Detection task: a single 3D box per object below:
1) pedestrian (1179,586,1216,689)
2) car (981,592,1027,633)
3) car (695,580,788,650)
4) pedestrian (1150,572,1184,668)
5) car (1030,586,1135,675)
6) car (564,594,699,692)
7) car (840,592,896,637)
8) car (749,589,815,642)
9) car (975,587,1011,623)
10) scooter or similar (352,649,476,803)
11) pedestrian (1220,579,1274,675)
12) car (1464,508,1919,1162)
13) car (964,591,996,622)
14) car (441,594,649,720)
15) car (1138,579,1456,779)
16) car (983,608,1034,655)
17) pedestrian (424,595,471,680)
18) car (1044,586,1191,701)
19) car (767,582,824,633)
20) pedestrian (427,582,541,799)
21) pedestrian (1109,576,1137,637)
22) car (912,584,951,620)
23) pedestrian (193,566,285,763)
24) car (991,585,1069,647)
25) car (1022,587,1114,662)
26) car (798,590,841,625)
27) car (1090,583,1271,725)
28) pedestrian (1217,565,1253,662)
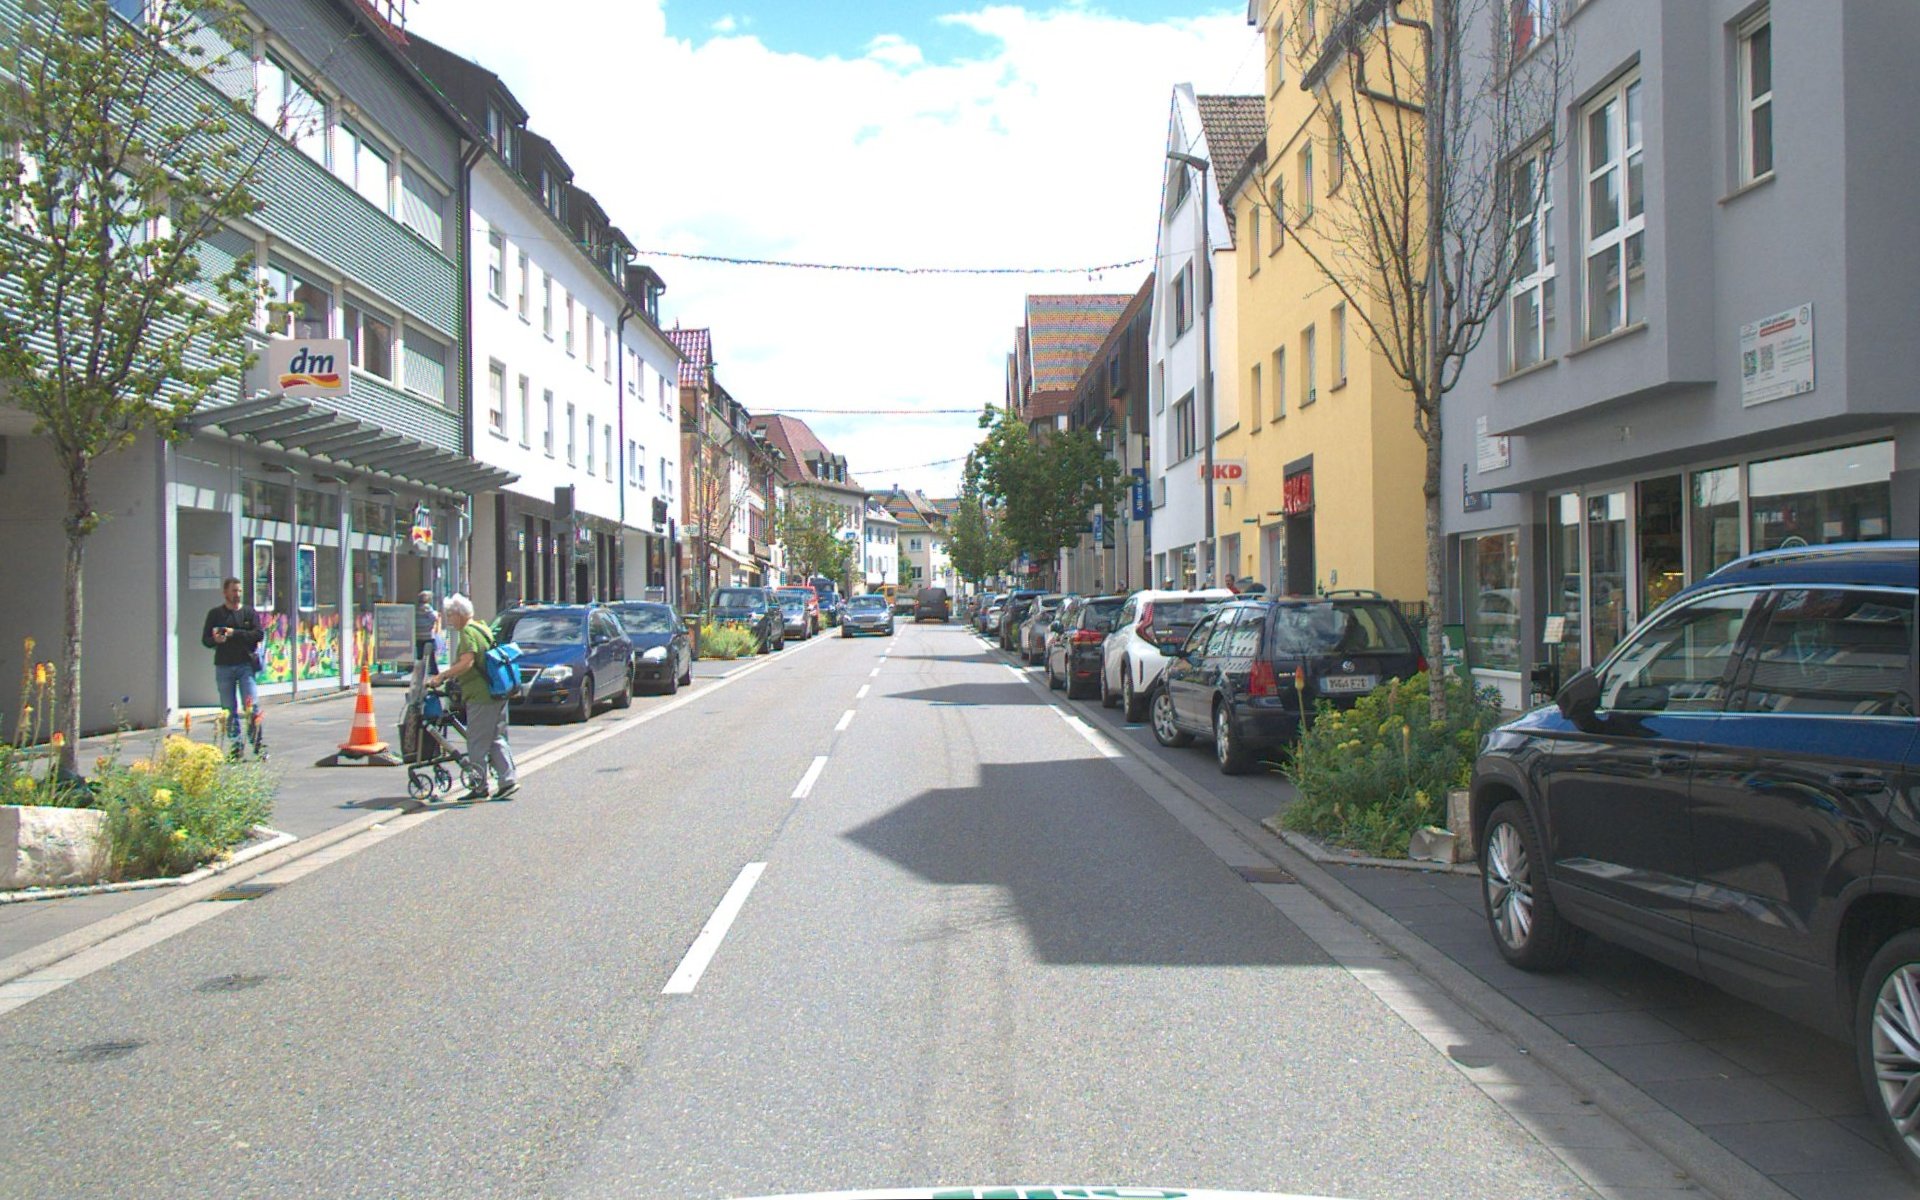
[{"bbox_3d":[4.384,0.684,30.527,0.576,1.873,0.576,1,-1,-1],"label":"pedestrian"},{"bbox_3d":[1.700,0.489,65.111,1.686,1.520,4.108,1,-1,0],"label":"car"},{"bbox_3d":[-5.901,0.415,45.171,1.778,1.786,4.669,1,-1,1],"label":"car"},{"bbox_3d":[4.064,0.392,32.527,0.576,1.873,0.576,1,-1,-1],"label":"pedestrian"},{"bbox_3d":[2.217,0.555,31.026,1.597,1.502,4.957,1,-1,0],"label":"car"},{"bbox_3d":[-5.536,0.678,28.290,1.755,1.529,4.174,1,0,-5],"label":"car"},{"bbox_3d":[-3.404,0.558,61.669,1.866,1.591,4.644,1,-1,-1],"label":"car"},{"bbox_3d":[-6.223,0.555,58.242,1.779,1.786,4.463,1,-1,0],"label":"car"},{"bbox_3d":[1.493,0.217,76.091,1.576,1.559,3.795,-1,0,0],"label":"car"},{"bbox_3d":[-4.223,0.963,12.828,0.766,1.145,0.629,1,-1,-6],"label":"scooter or similar"},{"bbox_3d":[4.842,0.452,27.930,0.734,1.580,0.725,-1,-1,-2],"label":"pedestrian"},{"bbox_3d":[3.204,0.549,5.188,1.763,1.631,4.202,-2,0,-3],"label":"car"},{"bbox_3d":[1.043,0.346,88.139,1.577,1.521,3.795,-4,0,0],"label":"car"},{"bbox_3d":[-5.526,0.702,22.613,1.754,1.539,4.711,0,0,-1],"label":"car"},{"bbox_3d":[2.866,0.633,15.035,1.656,1.465,4.291,-3,0,-5],"label":"car"},{"bbox_3d":[1.717,1.118,59.979,1.686,1.604,4.428,1,-1,0],"label":"car"},{"bbox_3d":[-9.148,0.666,29.531,0.641,1.480,0.563,1,-1,-1],"label":"pedestrian"},{"bbox_3d":[2.310,0.583,25.333,1.655,1.497,4.522,1,1,-2],"label":"car"},{"bbox_3d":[-6.542,0.309,66.234,1.779,1.922,4.840,1,-1,-1],"label":"car"},{"bbox_3d":[-3.699,0.694,12.903,0.717,1.646,0.650,1,-1,-6],"label":"pedestrian"},{"bbox_3d":[4.786,0.189,48.704,0.726,1.767,0.757,1,-1,-1],"label":"pedestrian"},{"bbox_3d":[-1.538,0.137,91.446,1.999,1.881,4.999,1,-1,1],"label":"car"},{"bbox_3d":[-6.719,0.594,15.446,0.537,1.788,0.728,1,-1,-4],"label":"pedestrian"},{"bbox_3d":[1.857,0.436,45.256,1.687,1.604,4.105,1,-1,-4],"label":"car"},{"bbox_3d":[2.288,0.531,35.933,1.686,1.502,4.353,1,-1,0],"label":"car"},{"bbox_3d":[-6.668,0.333,78.706,1.763,1.626,4.388,0,0,-1],"label":"car"},{"bbox_3d":[2.670,0.639,20.773,1.655,1.601,3.755,1,-1,-2],"label":"car"},{"bbox_3d":[5.379,0.258,32.377,0.576,1.873,0.576,1,-1,-1],"label":"pedestrian"}]
